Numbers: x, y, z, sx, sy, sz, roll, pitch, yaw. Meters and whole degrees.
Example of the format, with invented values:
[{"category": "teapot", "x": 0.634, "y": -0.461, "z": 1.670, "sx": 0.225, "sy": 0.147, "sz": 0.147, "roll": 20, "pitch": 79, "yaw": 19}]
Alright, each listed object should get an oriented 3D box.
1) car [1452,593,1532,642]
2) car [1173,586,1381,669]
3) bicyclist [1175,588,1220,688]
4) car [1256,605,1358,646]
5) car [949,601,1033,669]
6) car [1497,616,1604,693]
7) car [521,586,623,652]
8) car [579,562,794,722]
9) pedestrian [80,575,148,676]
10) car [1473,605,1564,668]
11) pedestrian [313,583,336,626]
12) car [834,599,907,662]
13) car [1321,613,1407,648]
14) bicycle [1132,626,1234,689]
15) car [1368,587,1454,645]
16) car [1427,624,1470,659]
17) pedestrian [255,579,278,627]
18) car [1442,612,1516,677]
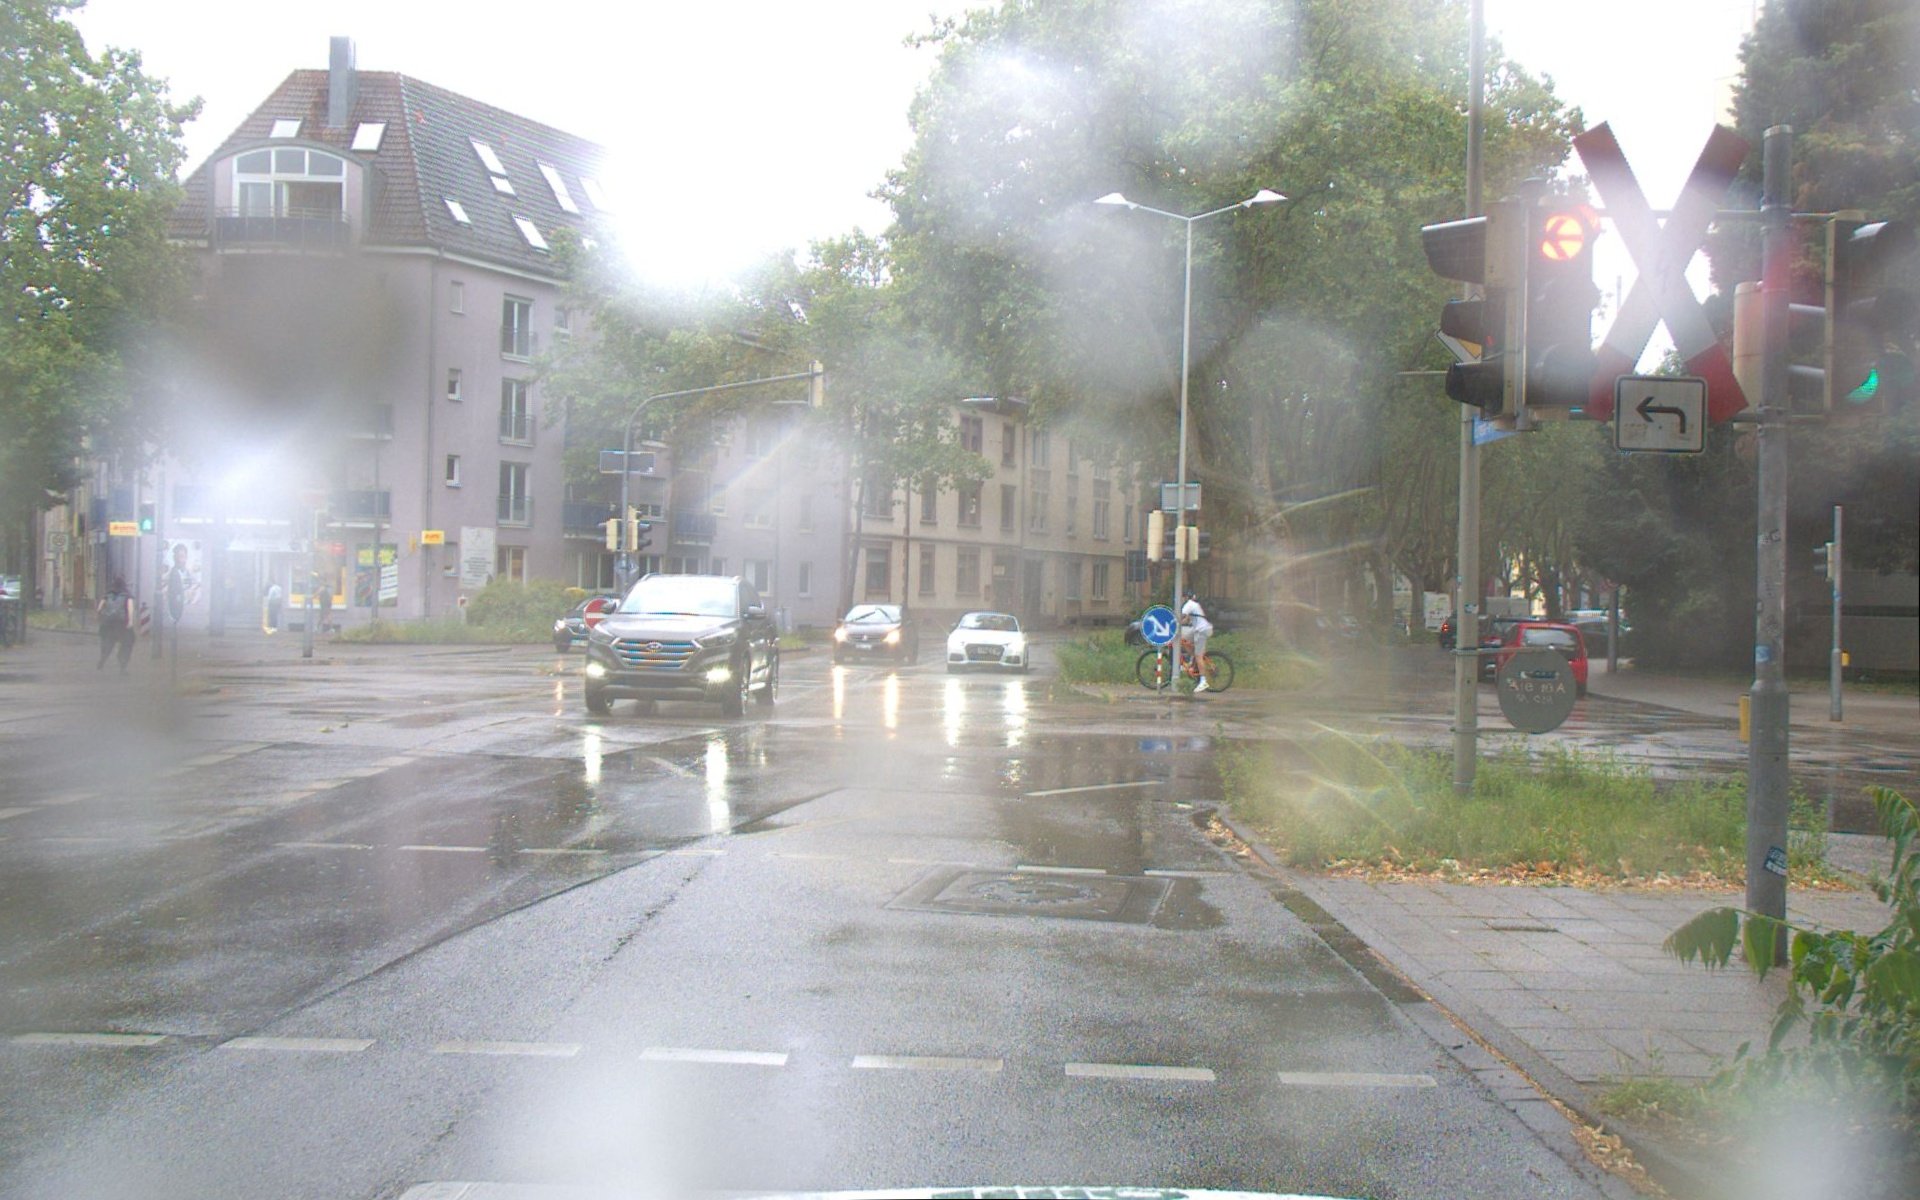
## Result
[{"category": "car", "x": 33.665, "y": 1.078, "z": 104.813, "sx": 1.974, "sy": 2.999, "sz": 4.720, "roll": 1, "pitch": 0, "yaw": -31}, {"category": "car", "x": 6.279, "y": 0.530, "z": 32.794, "sx": 3.902, "sy": 1.512, "sz": 2.002, "roll": 1, "pitch": 0, "yaw": 12}, {"category": "bicyclist", "x": 4.356, "y": 0.690, "z": 30.421, "sx": 0.778, "sy": 1.817, "sz": 0.697, "roll": 1, "pitch": -1, "yaw": 7}, {"category": "car", "x": 13.768, "y": 0.995, "z": 65.643, "sx": 3.902, "sy": 1.512, "sz": 2.002, "roll": 1, "pitch": 0, "yaw": 12}, {"category": "car", "x": 0.737, "y": 0.792, "z": 39.102, "sx": 1.845, "sy": 1.461, "sz": 4.001, "roll": 1, "pitch": 0, "yaw": 1}, {"category": "car", "x": 13.045, "y": 1.157, "z": 36.737, "sx": 1.754, "sy": 1.524, "sz": 4.003, "roll": 1, "pitch": 0, "yaw": 13}, {"category": "car", "x": -9.632, "y": 0.438, "z": 41.346, "sx": 1.716, "sy": 1.538, "sz": 3.838, "roll": 1, "pitch": 0, "yaw": -2}, {"category": "car", "x": -3.230, "y": 0.448, "z": 20.417, "sx": 1.766, "sy": 1.712, "sz": 4.604, "roll": 1, "pitch": 0, "yaw": 1}, {"category": "pedestrian", "x": -13.307, "y": 0.397, "z": 26.041, "sx": 0.736, "sy": 1.560, "sz": 0.789, "roll": 1, "pitch": -1, "yaw": -12}, {"category": "car", "x": 13.891, "y": 0.872, "z": 41.307, "sx": 1.745, "sy": 1.371, "sz": 3.932, "roll": 2, "pitch": 1, "yaw": 13}, {"category": "pedestrian", "x": -19.920, "y": 0.146, "z": 51.877, "sx": 0.434, "sy": 1.353, "sz": 0.562, "roll": 1, "pitch": -1, "yaw": 6}, {"category": "car", "x": -2.188, "y": 0.735, "z": 41.185, "sx": 1.679, "sy": 1.485, "sz": 3.747, "roll": 1, "pitch": 0, "yaw": -1}, {"category": "car", "x": 19.256, "y": 1.434, "z": 78.927, "sx": 3.902, "sy": 1.574, "sz": 2.002, "roll": 1, "pitch": 0, "yaw": 12}, {"category": "bicycle", "x": 4.096, "y": 1.045, "z": 30.448, "sx": 1.833, "sy": 1.100, "sz": 0.657, "roll": 1, "pitch": 0, "yaw": 7}, {"category": "car", "x": 23.949, "y": 0.841, "z": 88.070, "sx": 2.005, "sy": 2.999, "sz": 4.742, "roll": 1, "pitch": 0, "yaw": -21}, {"category": "car", "x": 22.298, "y": 1.853, "z": 75.376, "sx": 1.646, "sy": 1.500, "sz": 3.663, "roll": 1, "pitch": 0, "yaw": 20}, {"category": "pedestrian", "x": -21.802, "y": 0.099, "z": 51.994, "sx": 0.434, "sy": 1.483, "sz": 0.562, "roll": 1, "pitch": -1, "yaw": 6}, {"category": "car", "x": 14.983, "y": 1.248, "z": 47.910, "sx": 1.745, "sy": 1.757, "sz": 4.003, "roll": 1, "pitch": 0, "yaw": 13}]
